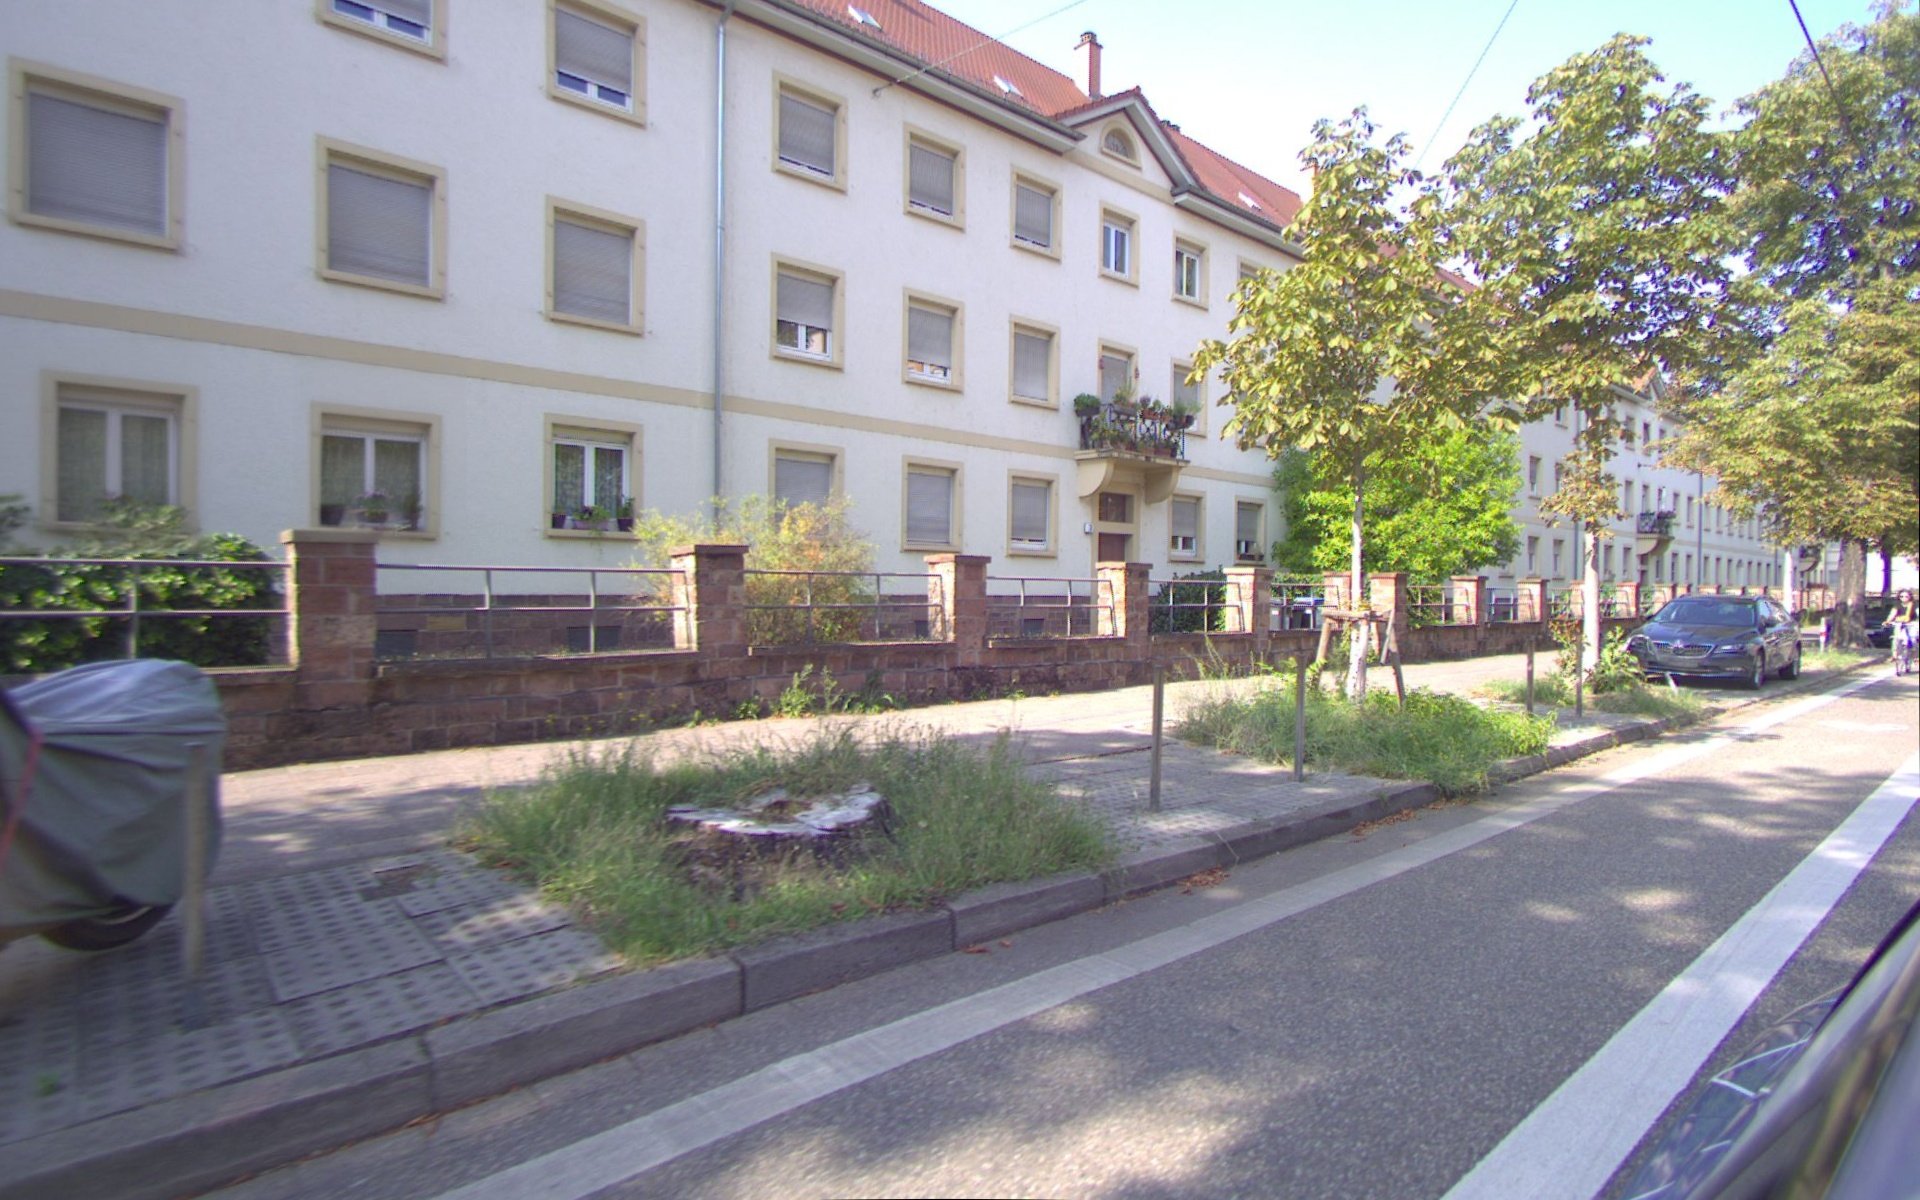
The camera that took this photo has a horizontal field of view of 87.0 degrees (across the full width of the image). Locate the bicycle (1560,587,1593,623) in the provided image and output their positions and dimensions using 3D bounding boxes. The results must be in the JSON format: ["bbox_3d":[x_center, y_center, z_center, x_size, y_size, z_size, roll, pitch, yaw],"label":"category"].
[{"bbox_3d":[18.674,0.151,30.651,1.462,1.073,0.416,0,1,-41],"label":"bicycle"}]

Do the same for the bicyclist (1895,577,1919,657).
[{"bbox_3d":[18.253,0.314,19.187,0.893,1.493,0.655,0,-1,-42],"label":"bicyclist"}]

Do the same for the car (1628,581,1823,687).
[{"bbox_3d":[13.316,0.476,17.495,4.636,1.580,1.747,-1,2,-41],"label":"car"}]

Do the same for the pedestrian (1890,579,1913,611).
[{"bbox_3d":[51.412,-0.274,55.272,0.861,1.771,0.755,0,0,-34],"label":"pedestrian"}]

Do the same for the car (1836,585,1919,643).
[{"bbox_3d":[27.100,0.358,29.603,4.025,1.520,1.693,-1,3,-42],"label":"car"}]

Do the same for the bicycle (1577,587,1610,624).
[{"bbox_3d":[18.992,0.165,30.315,1.462,1.073,0.416,0,1,-41],"label":"bicycle"}]

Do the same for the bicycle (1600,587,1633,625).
[{"bbox_3d":[19.290,0.159,29.714,1.462,1.073,0.416,0,1,-41],"label":"bicycle"}]

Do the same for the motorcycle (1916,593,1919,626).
[{"bbox_3d":[39.918,0.476,40.818,0.693,1.306,1.857,7,0,-43],"label":"motorcycle"}]

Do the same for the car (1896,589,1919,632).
[{"bbox_3d":[35.083,0.394,36.358,4.262,1.452,1.693,0,3,-42],"label":"car"}]

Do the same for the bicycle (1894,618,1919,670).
[{"bbox_3d":[18.255,0.816,19.160,1.744,0.920,0.655,0,-1,-42],"label":"bicycle"}]

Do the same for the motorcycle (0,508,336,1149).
[{"bbox_3d":[-2.957,0.588,2.764,0.897,1.694,2.418,2,2,3],"label":"motorcycle"}]
